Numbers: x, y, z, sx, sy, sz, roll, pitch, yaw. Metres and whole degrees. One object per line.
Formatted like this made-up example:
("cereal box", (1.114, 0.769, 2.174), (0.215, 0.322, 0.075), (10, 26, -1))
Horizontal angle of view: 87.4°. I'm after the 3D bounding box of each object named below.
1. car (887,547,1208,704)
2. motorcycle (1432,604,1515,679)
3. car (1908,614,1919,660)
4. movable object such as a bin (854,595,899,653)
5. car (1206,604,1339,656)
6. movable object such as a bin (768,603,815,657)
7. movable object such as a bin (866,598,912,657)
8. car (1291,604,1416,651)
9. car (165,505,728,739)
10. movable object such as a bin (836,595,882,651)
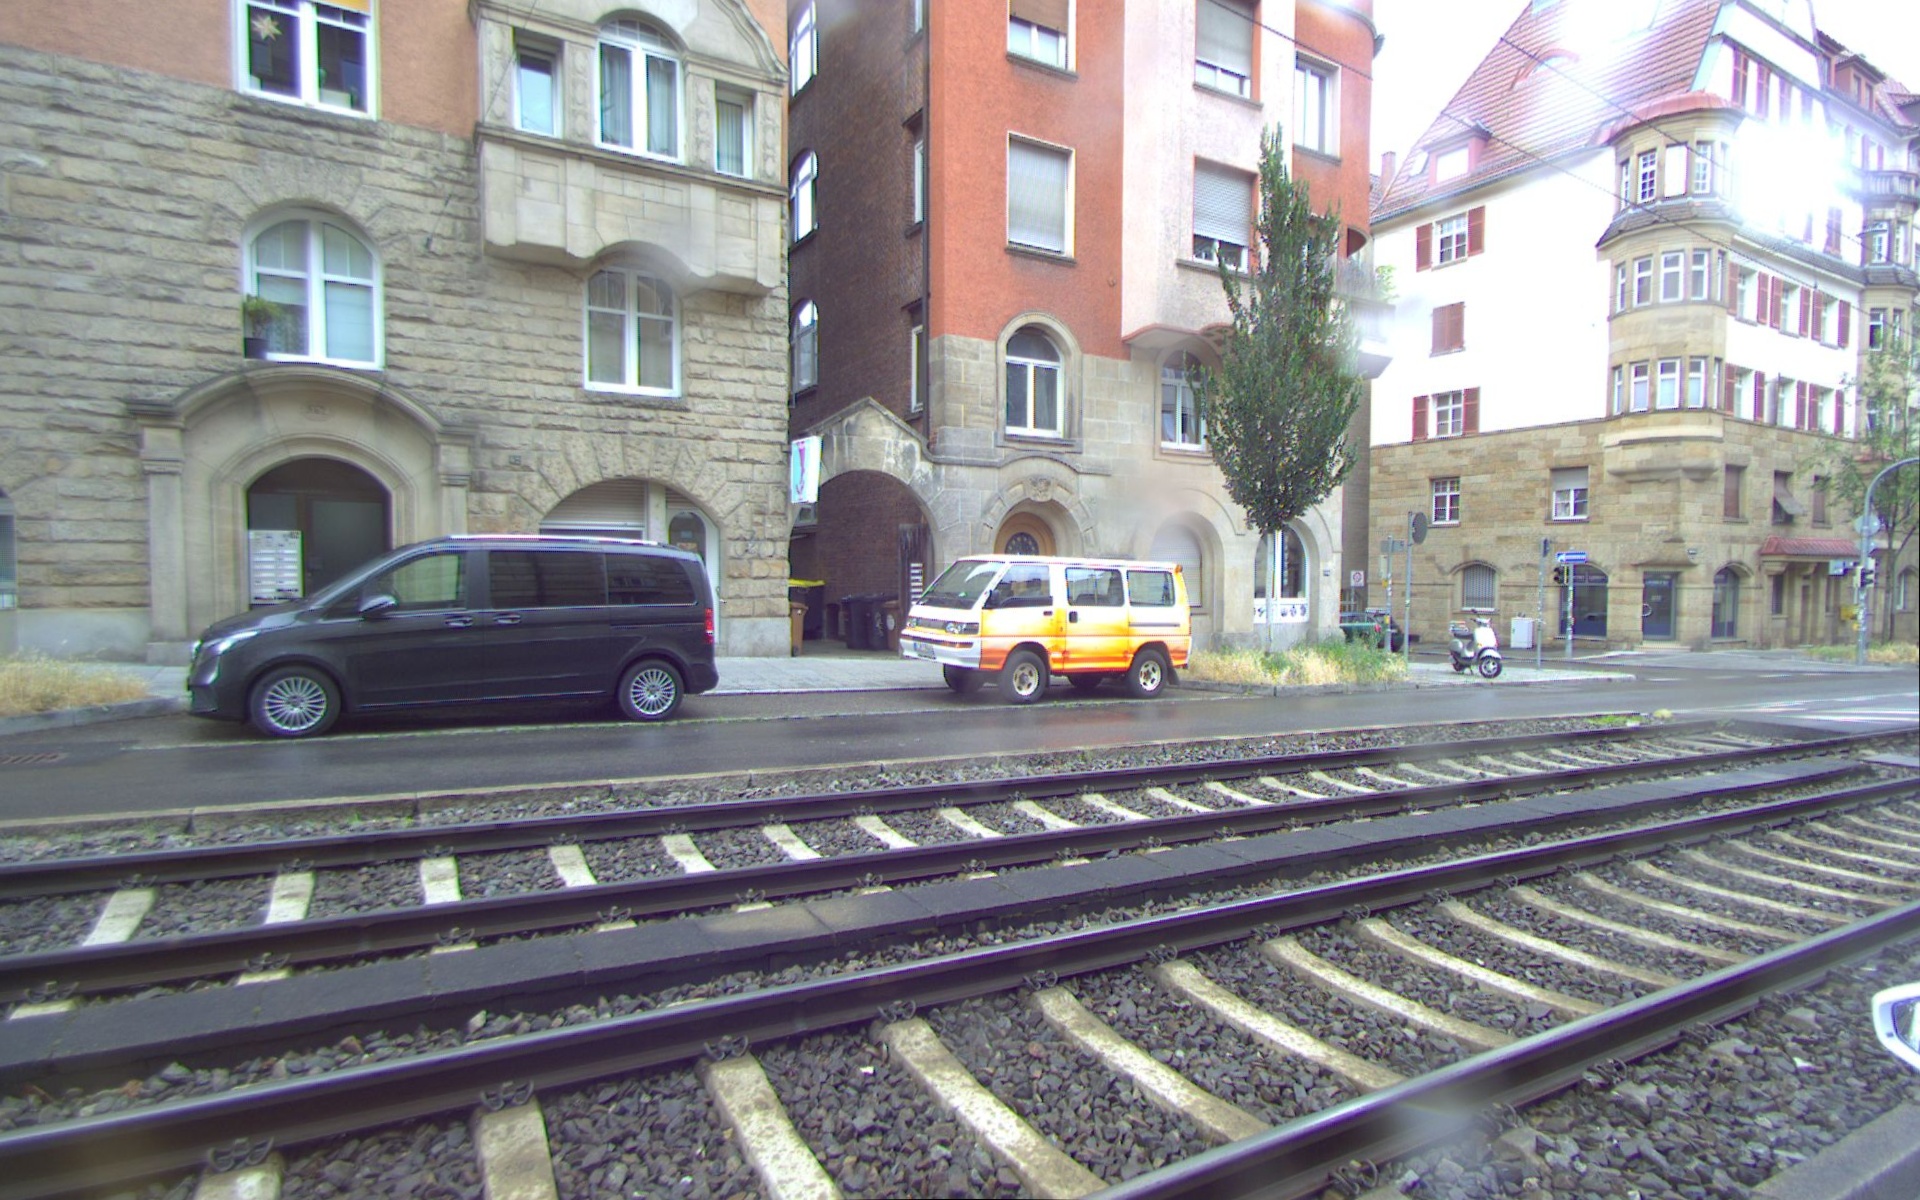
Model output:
("car", (1.320, 0.373, 14.415), (4.426, 1.956, 1.719), (2, 0, -32))
("motorcycle", (10.197, 0.795, 20.007), (0.752, 1.393, 1.785), (2, 0, 2))
("car", (34.202, 1.309, 34.294), (4.130, 1.549, 1.680), (2, 0, -32))
("movable object such as a bin", (-1.578, 0.448, 18.966), (0.648, 1.058, 0.545), (2, 0, -29))
("car", (9.932, 0.921, 32.176), (1.726, 1.486, 3.968), (2, 0, -29))
("movable object such as a bin", (-2.937, 0.522, 17.508), (0.647, 0.910, 0.544), (2, 0, -27))
("movable object such as a bin", (-1.314, 0.495, 18.484), (0.648, 1.058, 0.545), (2, 0, -29))
("car", (14.625, 0.991, 37.514), (1.979, 1.595, 3.963), (2, 0, -33))
("car", (-5.051, 0.244, 10.451), (4.777, 1.956, 1.896), (2, 0, -31))
("movable object such as a bin", (-1.962, 0.436, 19.484), (0.648, 1.058, 0.676), (2, 0, -29))
